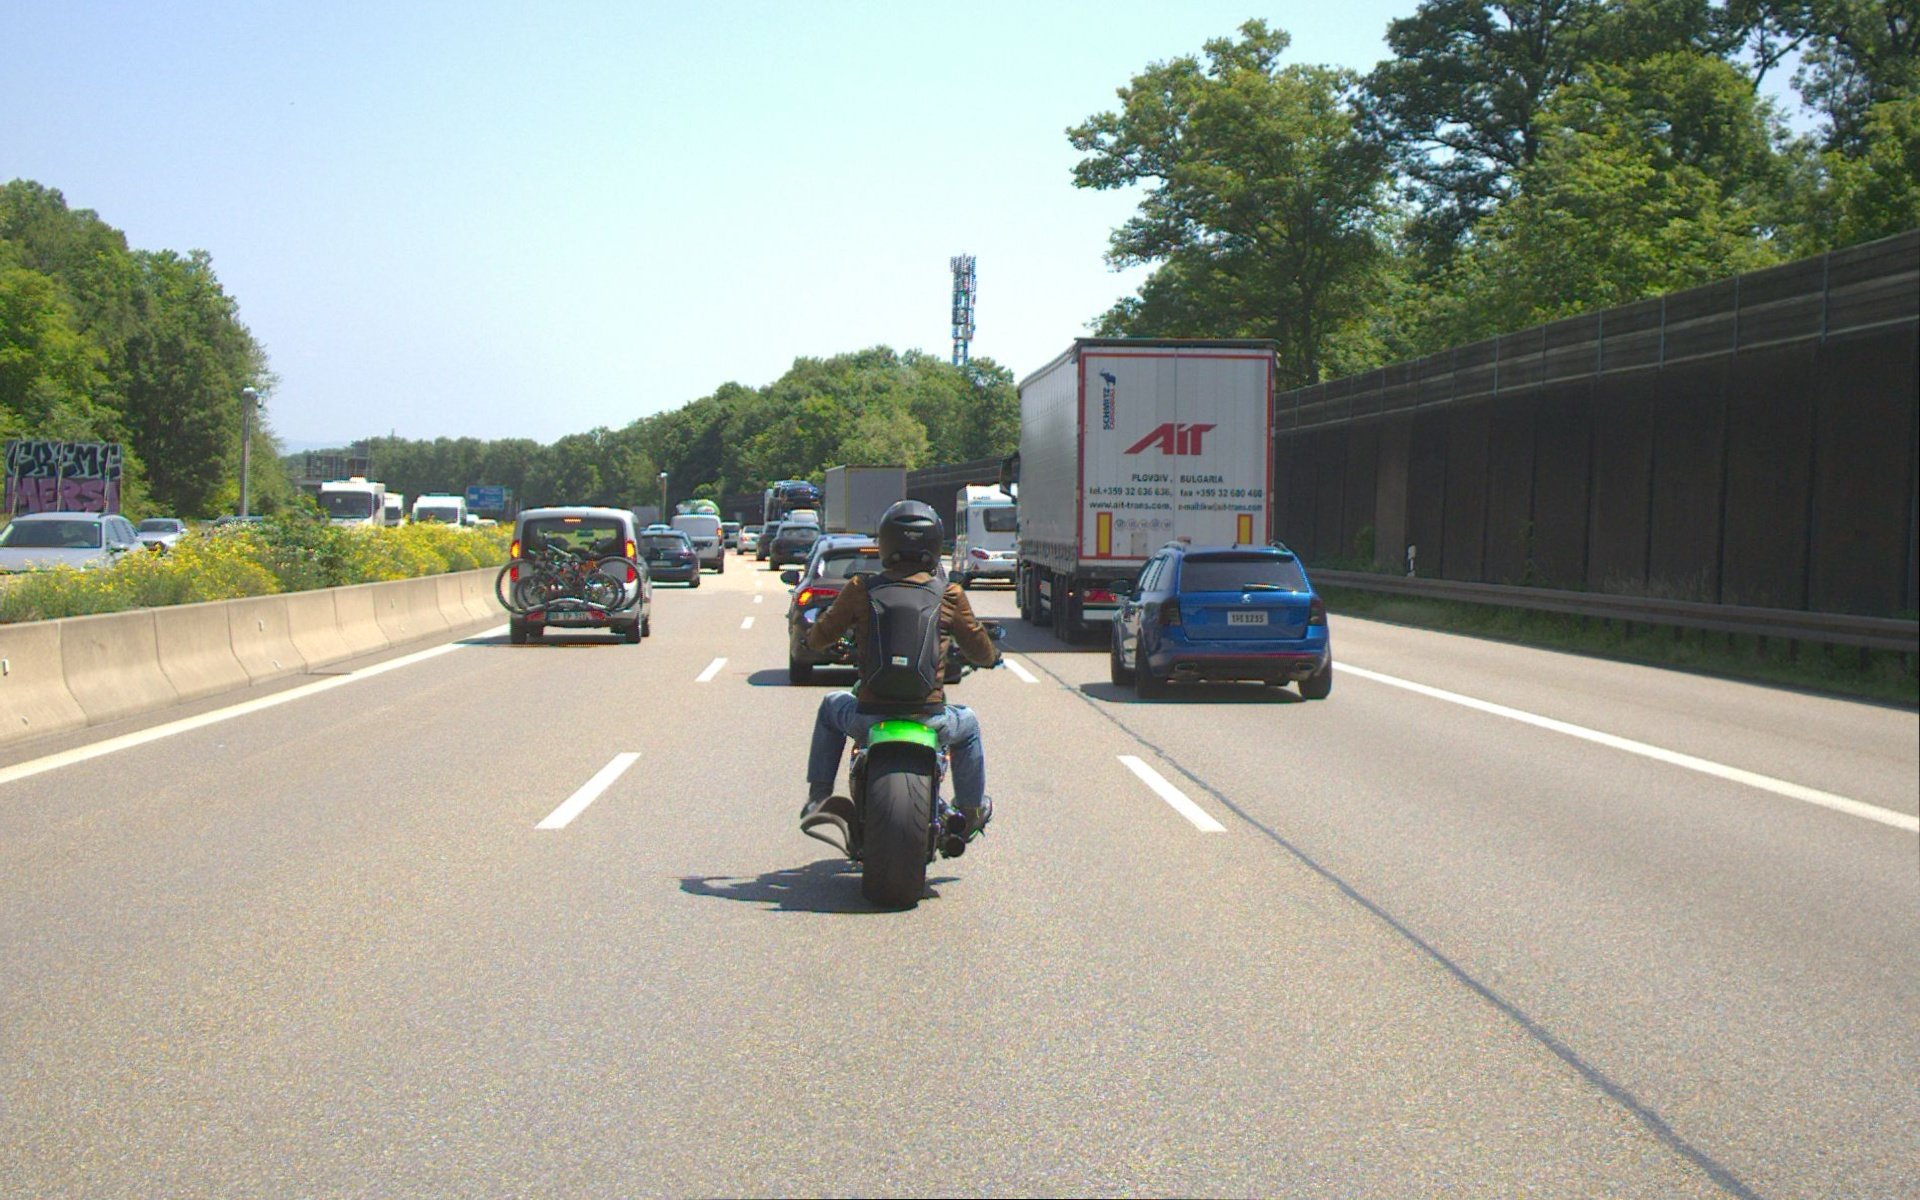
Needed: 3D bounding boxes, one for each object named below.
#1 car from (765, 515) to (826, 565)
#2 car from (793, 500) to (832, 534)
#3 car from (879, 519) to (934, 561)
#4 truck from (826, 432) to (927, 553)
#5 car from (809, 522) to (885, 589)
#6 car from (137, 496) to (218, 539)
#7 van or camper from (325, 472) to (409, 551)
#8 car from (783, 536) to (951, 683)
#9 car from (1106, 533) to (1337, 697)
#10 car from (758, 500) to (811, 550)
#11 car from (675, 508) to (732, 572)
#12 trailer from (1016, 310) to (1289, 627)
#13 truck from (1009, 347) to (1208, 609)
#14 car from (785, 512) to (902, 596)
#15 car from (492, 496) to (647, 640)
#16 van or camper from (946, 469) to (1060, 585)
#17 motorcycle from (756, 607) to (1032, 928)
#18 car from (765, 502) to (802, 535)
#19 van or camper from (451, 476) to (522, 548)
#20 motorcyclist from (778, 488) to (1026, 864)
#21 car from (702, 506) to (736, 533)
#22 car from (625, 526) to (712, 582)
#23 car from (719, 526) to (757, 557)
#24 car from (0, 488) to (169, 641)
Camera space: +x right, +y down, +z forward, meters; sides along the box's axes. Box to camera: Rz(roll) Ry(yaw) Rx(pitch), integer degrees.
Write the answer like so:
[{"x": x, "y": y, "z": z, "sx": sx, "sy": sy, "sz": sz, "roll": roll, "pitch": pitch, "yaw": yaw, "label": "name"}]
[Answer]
[{"x": -5.606, "y": -2.023, "z": 116.569, "sx": 1.993, "sy": 1.634, "sz": 4.000, "roll": 0, "pitch": 0, "yaw": -4, "label": "car"}, {"x": -8.494, "y": -4.757, "z": 197.283, "sx": 2.107, "sy": 1.870, "sz": 4.001, "roll": 0, "pitch": 0, "yaw": -4, "label": "car"}, {"x": -2.057, "y": -2.278, "z": 131.135, "sx": 1.993, "sy": 1.568, "sz": 4.000, "roll": 0, "pitch": 0, "yaw": -2, "label": "car"}, {"x": -3.629, "y": -4.530, "z": 147.386, "sx": 3.802, "sy": 4.943, "sz": 8.952, "roll": 0, "pitch": 0, "yaw": -5, "label": "truck"}, {"x": -2.687, "y": -1.078, "z": 82.412, "sx": 1.779, "sy": 1.546, "sz": 3.585, "roll": 0, "pitch": 1, "yaw": -1, "label": "car"}, {"x": -26.775, "y": -2.822, "z": 117.751, "sx": 1.993, "sy": 1.427, "sz": 4.192, "roll": 0, "pitch": 1, "yaw": -3, "label": "car"}, {"x": -26.197, "y": -3.853, "z": 152.281, "sx": 2.539, "sy": 3.306, "sz": 9.003, "roll": 0, "pitch": 0, "yaw": -3, "label": "van or camper"}, {"x": -1.010, "y": 0.084, "z": 35.888, "sx": 1.662, "sy": 1.448, "sz": 3.869, "roll": 0, "pitch": 0, "yaw": -3, "label": "car"}, {"x": 2.470, "y": 0.127, "z": 33.414, "sx": 1.650, "sy": 1.477, "sz": 4.482, "roll": 0, "pitch": 0, "yaw": -3, "label": "car"}, {"x": -7.379, "y": -3.120, "z": 144.059, "sx": 1.911, "sy": 2.007, "sz": 3.691, "roll": 0, "pitch": 0, "yaw": -7, "label": "car"}, {"x": -8.269, "y": -1.902, "z": 110.541, "sx": 1.791, "sy": 2.007, "sz": 3.643, "roll": 0, "pitch": 0, "yaw": -5, "label": "car"}, {"x": 2.559, "y": -1.829, "z": 50.663, "sx": 2.885, "sy": 4.024, "sz": 13.796, "roll": 0, "pitch": 1, "yaw": -1, "label": "trailer"}, {"x": 2.396, "y": -1.999, "z": 57.503, "sx": 2.885, "sy": 4.132, "sz": 5.986, "roll": 0, "pitch": 1, "yaw": -1, "label": "truck"}, {"x": -2.036, "y": -0.796, "z": 60.616, "sx": 1.993, "sy": 1.425, "sz": 3.847, "roll": 0, "pitch": 0, "yaw": -2, "label": "car"}, {"x": -5.306, "y": -0.431, "z": 47.134, "sx": 1.899, "sy": 1.867, "sz": 4.413, "roll": 0, "pitch": 0, "yaw": -4, "label": "car"}, {"x": 1.025, "y": -1.785, "z": 86.981, "sx": 2.685, "sy": 2.803, "sz": 6.803, "roll": 0, "pitch": 0, "yaw": -1, "label": "van or camper"}, {"x": -0.225, "y": 0.646, "z": 14.597, "sx": 0.964, "sy": 1.144, "sz": 2.811, "roll": 1, "pitch": 1, "yaw": 3, "label": "motorcycle"}, {"x": -10.439, "y": -4.791, "z": 202.832, "sx": 2.107, "sy": 1.870, "sz": 4.001, "roll": 0, "pitch": 0, "yaw": -4, "label": "car"}, {"x": -19.531, "y": -3.616, "z": 142.105, "sx": 2.257, "sy": 2.889, "sz": 6.558, "roll": 0, "pitch": 1, "yaw": -2, "label": "van or camper"}, {"x": -0.210, "y": 0.292, "z": 14.393, "sx": 0.900, "sy": 1.470, "sz": 1.872, "roll": 0, "pitch": 0, "yaw": 3, "label": "motorcyclist"}, {"x": -13.943, "y": -4.645, "z": 198.984, "sx": 1.832, "sy": 1.491, "sz": 3.744, "roll": 0, "pitch": 0, "yaw": -2, "label": "car"}, {"x": -7.311, "y": -1.142, "z": 86.567, "sx": 1.993, "sy": 1.382, "sz": 4.000, "roll": 0, "pitch": 0, "yaw": -2, "label": "car"}, {"x": -11.007, "y": -2.886, "z": 170.780, "sx": 1.832, "sy": 1.491, "sz": 3.744, "roll": 0, "pitch": 0, "yaw": -3, "label": "car"}, {"x": -12.329, "y": -0.477, "z": 47.141, "sx": 1.993, "sy": 2.007, "sz": 4.000, "roll": 0, "pitch": 0, "yaw": 1, "label": "car"}]
